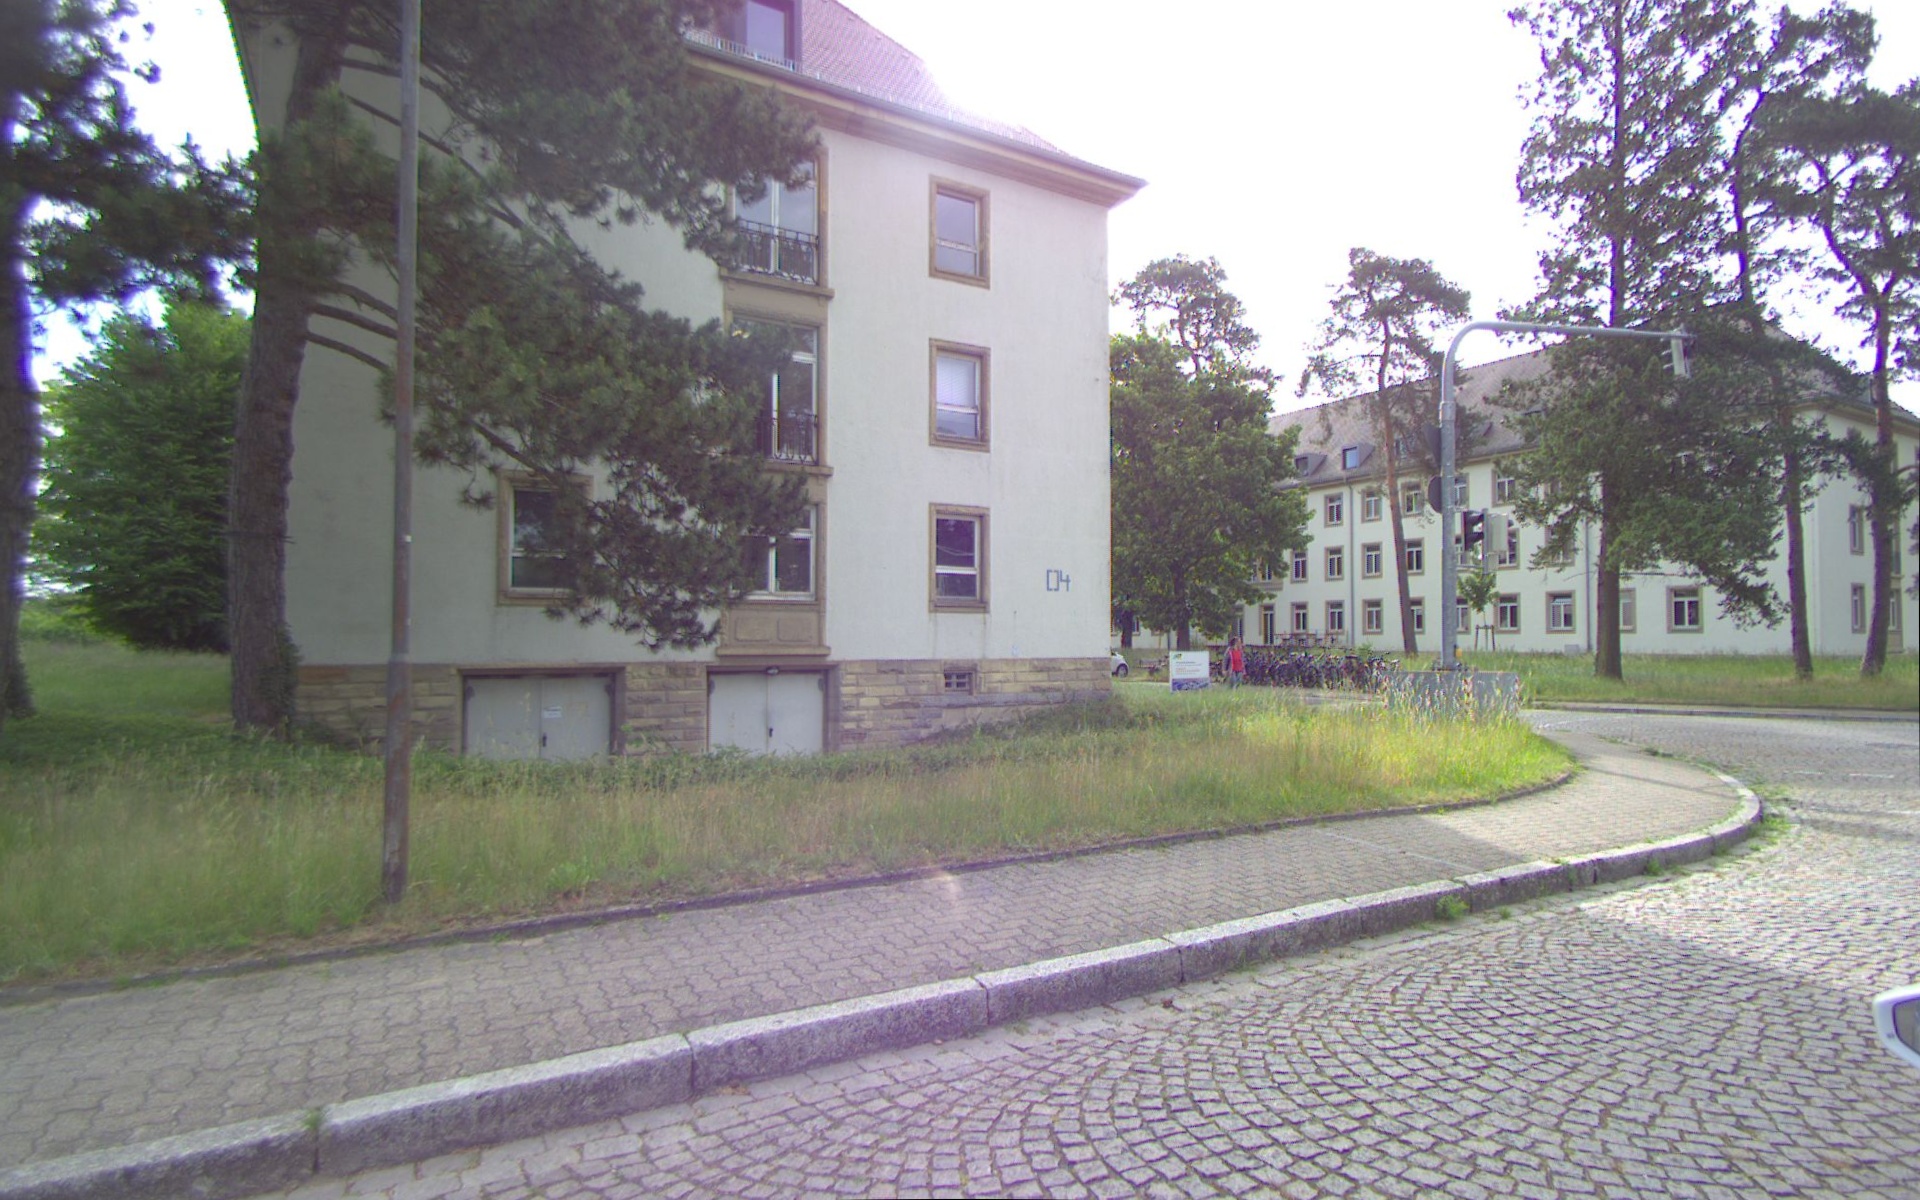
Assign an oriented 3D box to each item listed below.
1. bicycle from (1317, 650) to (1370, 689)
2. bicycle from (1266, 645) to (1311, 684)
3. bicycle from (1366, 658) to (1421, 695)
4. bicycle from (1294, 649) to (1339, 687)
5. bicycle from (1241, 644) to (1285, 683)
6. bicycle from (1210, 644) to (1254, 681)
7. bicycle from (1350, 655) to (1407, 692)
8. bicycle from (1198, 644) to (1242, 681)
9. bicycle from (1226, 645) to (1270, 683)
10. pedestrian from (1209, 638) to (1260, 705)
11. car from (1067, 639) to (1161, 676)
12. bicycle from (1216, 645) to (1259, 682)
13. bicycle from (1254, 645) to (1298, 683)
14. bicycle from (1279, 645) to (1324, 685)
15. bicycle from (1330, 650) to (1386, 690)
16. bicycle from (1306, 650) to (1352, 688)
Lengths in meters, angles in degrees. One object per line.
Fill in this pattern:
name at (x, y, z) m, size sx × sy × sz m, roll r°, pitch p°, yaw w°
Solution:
bicycle at (12.187, 2.188, 31.924) m, size 1.909 × 1.193 × 0.524 m, roll 1°, pitch -3°, yaw -32°
bicycle at (11.073, 2.164, 33.835) m, size 1.677 × 1.300 × 0.446 m, roll 1°, pitch -3°, yaw -32°
bicycle at (12.396, 2.176, 28.761) m, size 0.447 × 1.009 × 1.453 m, roll 1°, pitch -3°, yaw -29°
bicycle at (11.625, 2.199, 32.747) m, size 1.677 × 1.193 × 0.446 m, roll 1°, pitch -3°, yaw -32°
bicycle at (10.479, 2.177, 34.733) m, size 1.677 × 1.300 × 0.446 m, roll 1°, pitch -3°, yaw -32°
bicycle at (9.805, 2.256, 36.217) m, size 1.765 × 1.300 × 0.440 m, roll 1°, pitch -3°, yaw -32°
bicycle at (12.865, 2.240, 30.842) m, size 1.974 × 1.092 × 0.572 m, roll 1°, pitch -3°, yaw -32°
bicycle at (9.462, 2.261, 36.549) m, size 1.807 × 1.300 × 0.446 m, roll 1°, pitch -3°, yaw -32°
bicycle at (10.125, 2.239, 35.293) m, size 1.677 × 1.300 × 0.446 m, roll 1°, pitch -3°, yaw -32°
pedestrian at (7.046, 1.822, 25.822) m, size 0.928 × 1.690 × 0.856 m, roll 1°, pitch -2°, yaw -28°
car at (6.798, 2.507, 44.289) m, size 3.851 × 1.576 × 1.831 m, roll 1°, pitch -3°, yaw -30°
bicycle at (9.872, 2.245, 35.708) m, size 1.677 × 1.300 × 0.446 m, roll 1°, pitch -3°, yaw -32°
bicycle at (10.779, 2.170, 34.258) m, size 1.677 × 1.300 × 0.446 m, roll 1°, pitch -3°, yaw -32°
bicycle at (11.359, 2.159, 33.420) m, size 1.677 × 1.300 × 0.446 m, roll 1°, pitch -3°, yaw -32°
bicycle at (12.451, 2.179, 31.402) m, size 1.932 × 1.193 × 0.572 m, roll 1°, pitch -3°, yaw -32°
bicycle at (11.884, 2.206, 32.338) m, size 1.677 × 1.193 × 0.446 m, roll 1°, pitch -3°, yaw -32°
